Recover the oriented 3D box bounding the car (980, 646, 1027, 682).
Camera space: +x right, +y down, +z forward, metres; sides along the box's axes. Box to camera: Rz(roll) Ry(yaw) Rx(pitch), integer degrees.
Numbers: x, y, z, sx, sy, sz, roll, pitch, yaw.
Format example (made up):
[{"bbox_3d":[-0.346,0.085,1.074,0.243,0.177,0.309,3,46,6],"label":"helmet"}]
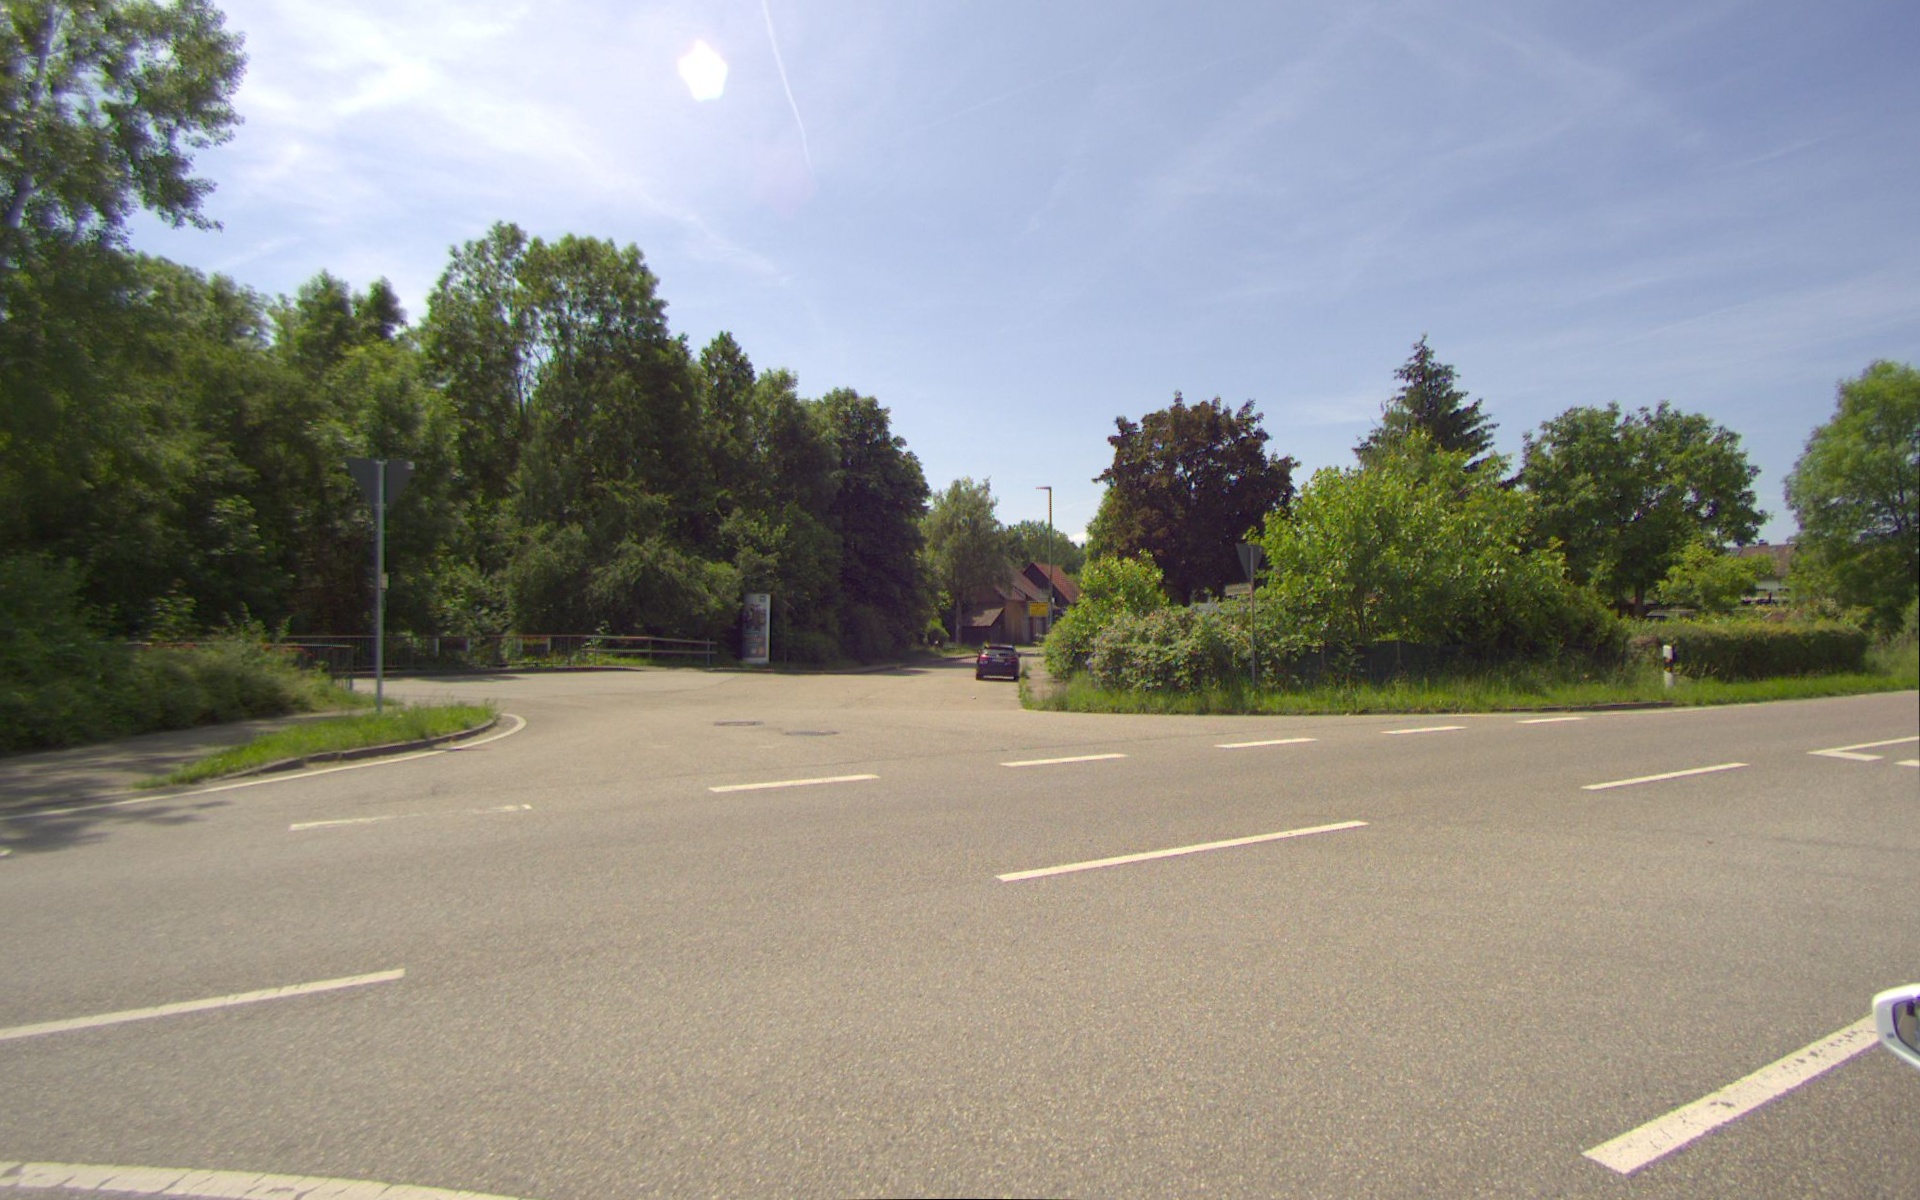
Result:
[{"bbox_3d":[1.875,2.643,42.149,1.762,1.375,4.003,2,-2,5],"label":"car"}]
